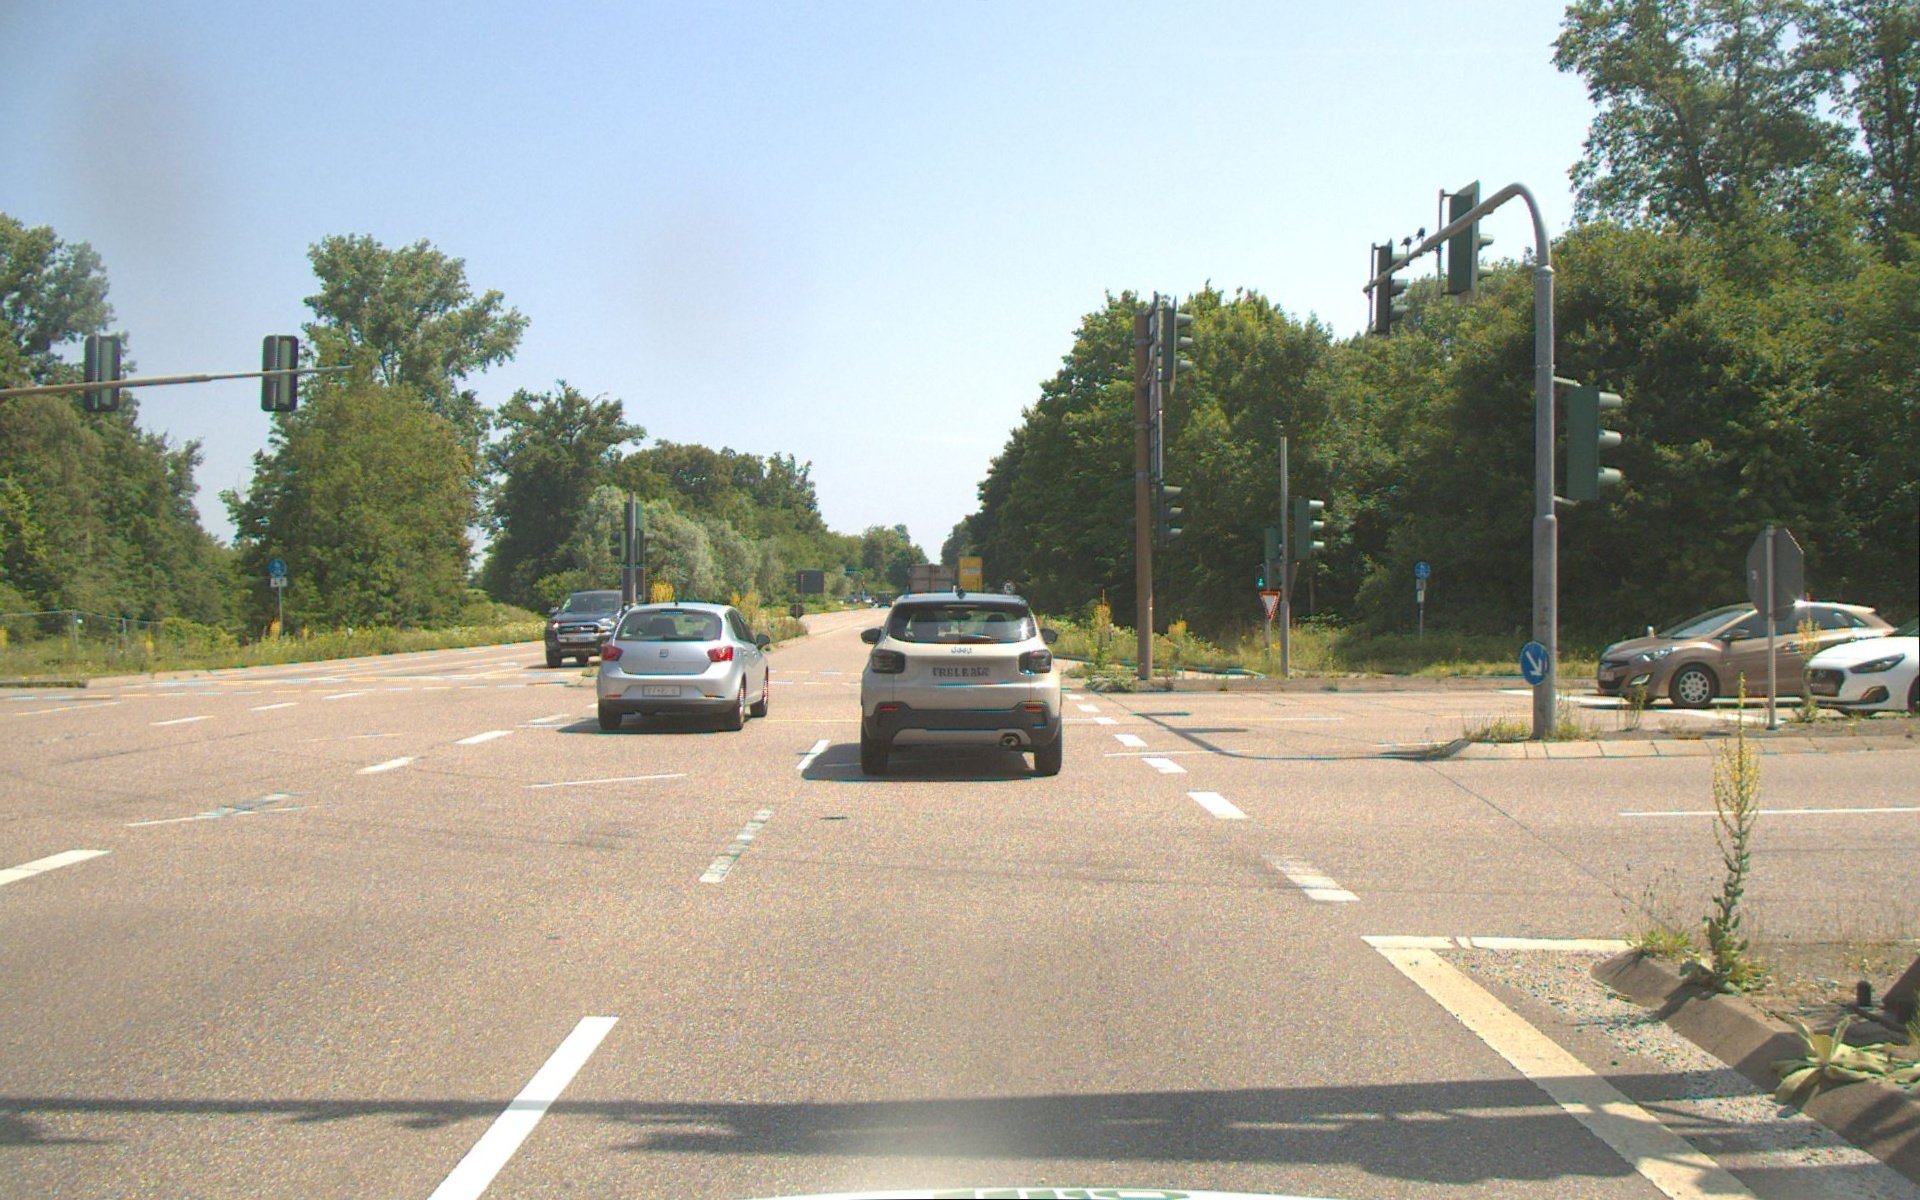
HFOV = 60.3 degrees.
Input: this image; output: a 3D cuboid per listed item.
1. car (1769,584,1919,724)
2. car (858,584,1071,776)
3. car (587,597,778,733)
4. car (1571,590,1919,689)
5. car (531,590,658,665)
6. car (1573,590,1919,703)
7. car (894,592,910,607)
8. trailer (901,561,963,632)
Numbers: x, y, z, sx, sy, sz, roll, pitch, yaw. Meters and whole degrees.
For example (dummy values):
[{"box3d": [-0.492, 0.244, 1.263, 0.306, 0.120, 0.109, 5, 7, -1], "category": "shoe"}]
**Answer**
[{"box3d": [12.280, 0.573, 19.690, 4.330, 1.562, 1.999, -1, 0, -2], "category": "car"}, {"box3d": [0.040, 0.658, 15.546, 1.731, 1.562, 4.000, 0, 0, 0], "category": "car"}, {"box3d": [-3.235, 0.707, 19.968, 1.631, 1.455, 3.828, 1, 0, 0], "category": "car"}, {"box3d": [12.823, 0.634, 27.138, 4.831, 1.525, 2.020, 0, -1, 0], "category": "car"}, {"box3d": [-9.094, 0.657, 41.629, 1.953, 1.707, 5.365, -2, 0, 0], "category": "car"}, {"box3d": [11.108, 0.631, 23.524, 4.010, 1.472, 1.994, -1, 0, -3], "category": "car"}, {"box3d": [-7.811, -0.096, 222.093, 1.954, 2.049, 4.550, -1, 0, -3], "category": "car"}, {"box3d": [-1.593, -0.150, 100.415, 3.313, 4.058, 10.804, 1, -1, 1], "category": "trailer"}]
